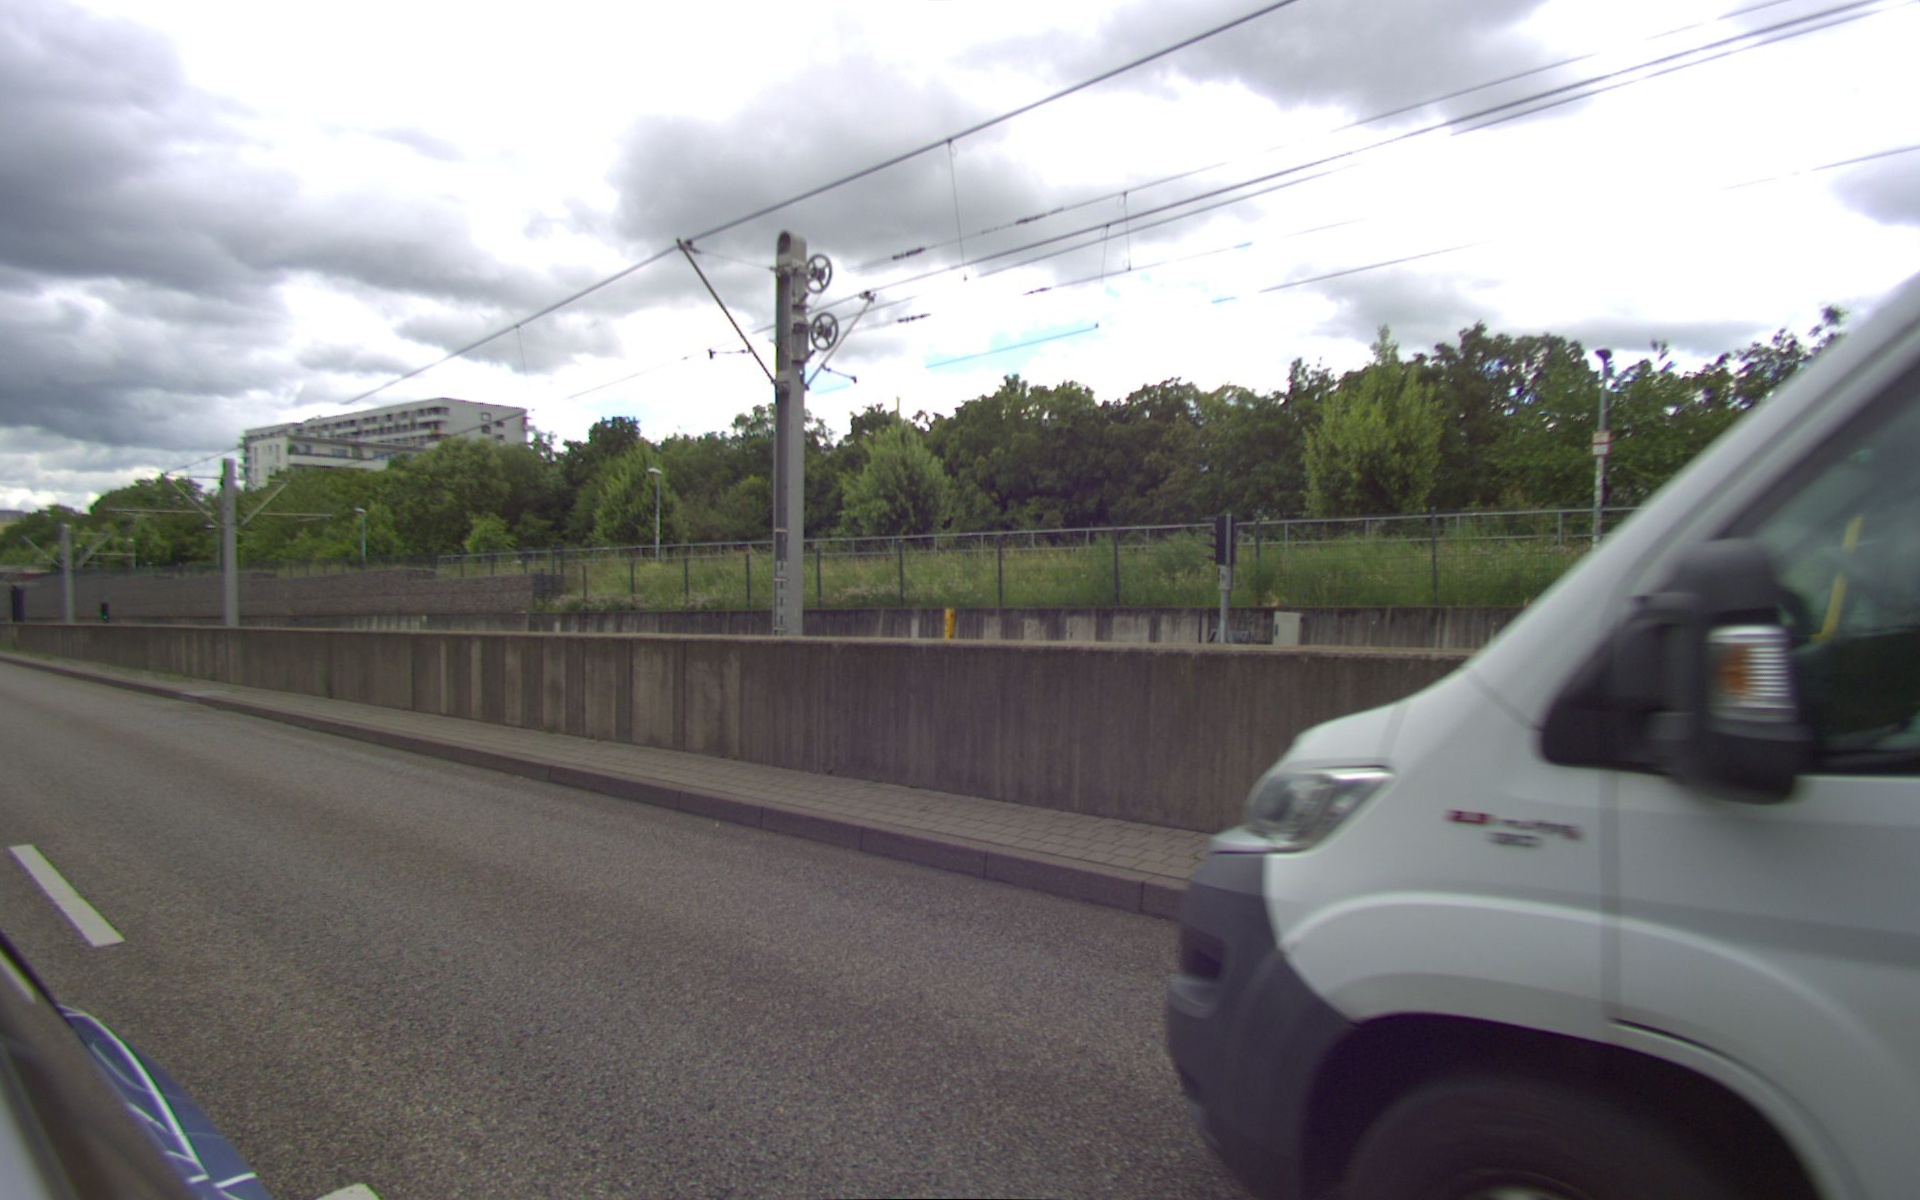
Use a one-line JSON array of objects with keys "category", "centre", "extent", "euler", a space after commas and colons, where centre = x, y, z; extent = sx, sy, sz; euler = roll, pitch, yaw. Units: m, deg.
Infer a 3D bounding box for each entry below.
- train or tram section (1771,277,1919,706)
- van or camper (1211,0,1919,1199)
[{"category": "train or tram section", "centre": [14.437, -0.828, 2.860], "extent": [18.902, 3.140, 2.783], "euler": [0, -1, 41]}, {"category": "van or camper", "centre": [3.492, 0.140, 0.770], "extent": [6.133, 2.414, 2.061], "euler": [-1, -1, 41]}]
